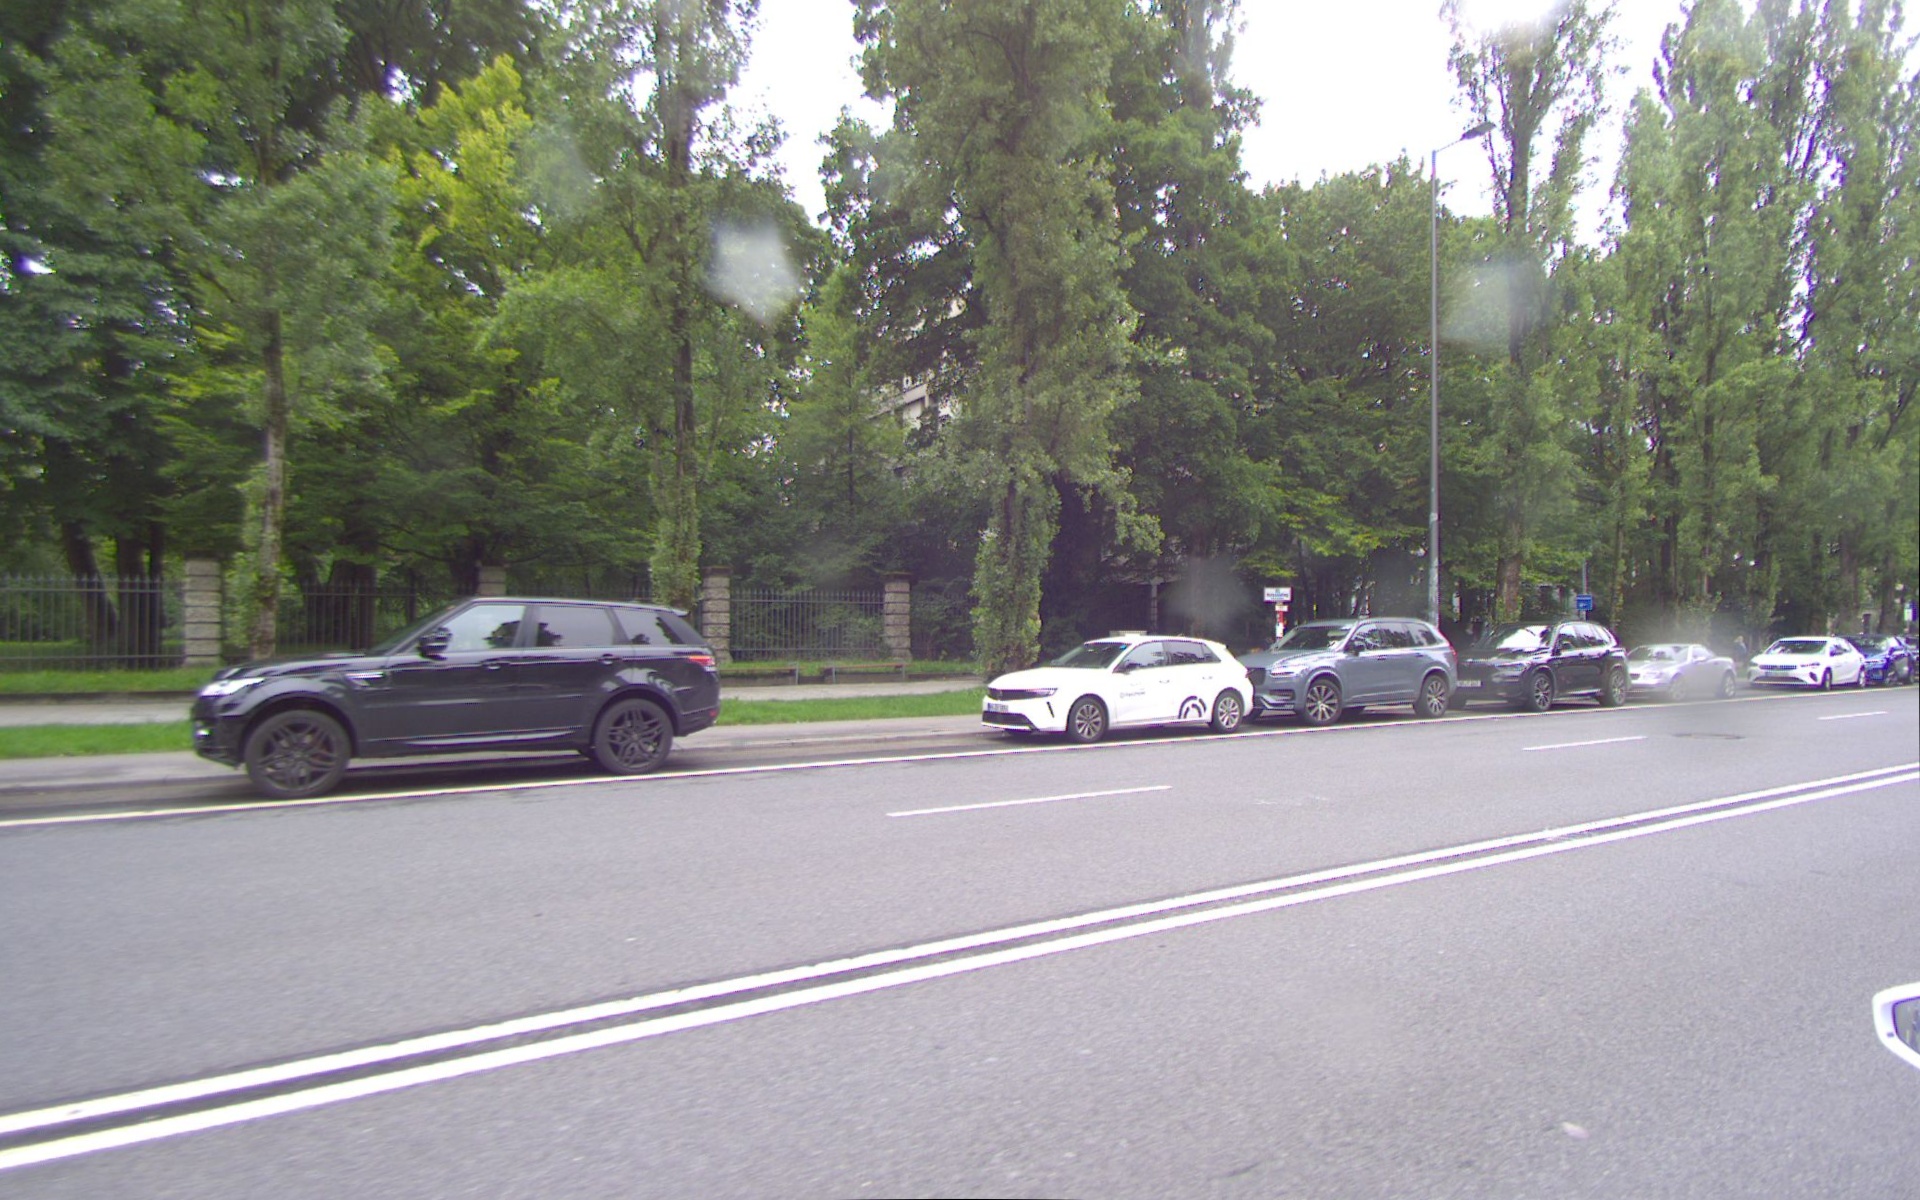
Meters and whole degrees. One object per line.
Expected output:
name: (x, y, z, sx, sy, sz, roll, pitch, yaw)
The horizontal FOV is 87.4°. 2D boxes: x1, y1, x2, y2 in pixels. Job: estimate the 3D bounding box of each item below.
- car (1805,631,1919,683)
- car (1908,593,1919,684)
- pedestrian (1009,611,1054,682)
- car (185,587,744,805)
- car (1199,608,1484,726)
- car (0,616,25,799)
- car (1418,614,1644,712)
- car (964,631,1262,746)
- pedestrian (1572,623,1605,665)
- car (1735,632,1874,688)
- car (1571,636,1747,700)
car: (27.155, 1.697, 30.163, 3.546, 1.470, 1.700, 1, -4, -32)
car: (29.964, 1.091, 28.997, 6.685, 2.515, 2.216, 1, -3, -33)
pedestrian: (1.836, 1.181, 25.747, 0.946, 1.764, 0.663, 1, -1, -30)
car: (-4.848, 0.889, 10.429, 4.741, 1.810, 2.038, 1, -3, -29)
car: (6.727, 1.125, 17.534, 5.121, 1.813, 1.900, 1, -4, -31)
car: (-10.108, 0.895, 7.393, 4.337, 1.604, 1.936, 1, -3, -31)
car: (11.691, 1.246, 20.466, 4.842, 1.790, 1.931, 1, -4, -32)
car: (2.297, 1.213, 14.709, 4.224, 1.478, 1.696, 1, -3, -31)
pedestrian: (24.947, 1.738, 39.869, 0.871, 1.620, 0.733, 1, 0, -30)
car: (23.674, 1.659, 28.137, 4.187, 1.471, 1.761, 1, -4, -32)
car: (16.331, 1.551, 23.419, 4.185, 1.351, 1.817, 1, -4, -31)
